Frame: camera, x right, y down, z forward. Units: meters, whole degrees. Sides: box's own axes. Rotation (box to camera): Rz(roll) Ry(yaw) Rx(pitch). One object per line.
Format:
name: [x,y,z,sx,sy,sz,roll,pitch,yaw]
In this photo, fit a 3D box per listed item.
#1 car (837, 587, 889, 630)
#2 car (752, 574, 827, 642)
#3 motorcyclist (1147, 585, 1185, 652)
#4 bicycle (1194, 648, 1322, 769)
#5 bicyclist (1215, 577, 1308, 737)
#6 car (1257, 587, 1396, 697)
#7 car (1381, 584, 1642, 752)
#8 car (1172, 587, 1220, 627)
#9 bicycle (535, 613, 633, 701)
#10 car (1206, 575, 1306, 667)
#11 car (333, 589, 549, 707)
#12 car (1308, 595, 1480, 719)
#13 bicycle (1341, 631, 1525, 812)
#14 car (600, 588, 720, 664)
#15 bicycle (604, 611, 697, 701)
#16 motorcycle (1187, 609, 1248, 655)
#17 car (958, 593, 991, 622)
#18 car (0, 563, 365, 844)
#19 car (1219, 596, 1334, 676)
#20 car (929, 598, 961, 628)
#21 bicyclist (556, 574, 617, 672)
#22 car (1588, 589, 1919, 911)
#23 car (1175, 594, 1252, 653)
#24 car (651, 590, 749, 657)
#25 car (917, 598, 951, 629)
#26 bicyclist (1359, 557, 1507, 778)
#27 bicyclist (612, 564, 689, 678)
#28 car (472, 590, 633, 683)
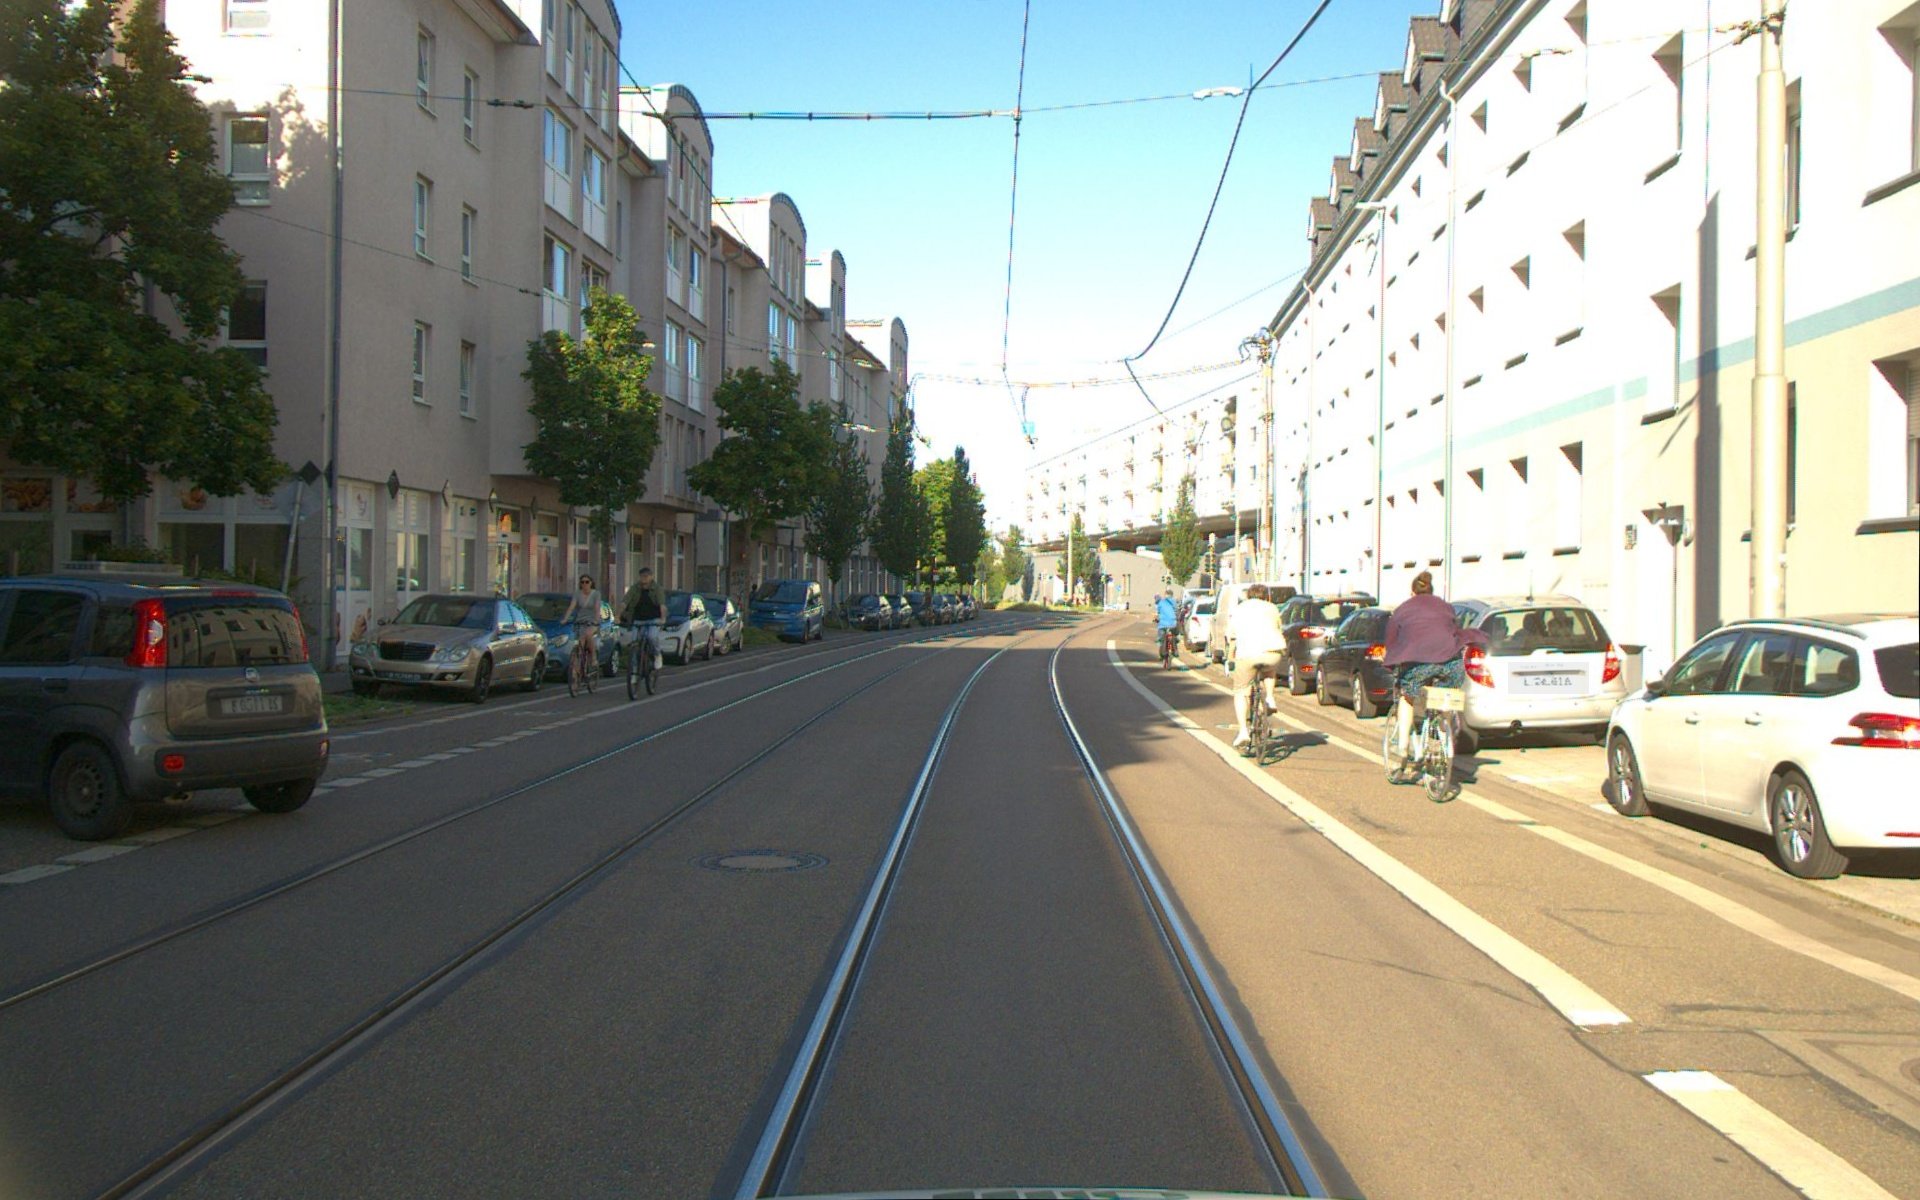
car: [-3.887,0.327,67.089,1.630,1.646,4.002,1,0,3]
car: [-5.321,0.219,51.974,1.630,2.021,4.345,1,0,3]
motorcyclist: [4.532,0.399,36.508,0.712,1.430,1.021,1,0,1]
bicycle: [2.865,1.007,16.197,0.723,0.941,2.837,4,0,1]
bicyclist: [2.899,0.527,15.970,0.712,1.487,1.021,1,0,1]
car: [6.271,0.664,28.676,1.626,1.699,3.905,-3,0,2]
car: [6.011,0.671,18.483,1.718,1.598,3.905,-3,0,3]
car: [11.107,0.317,78.125,1.805,1.786,4.550,1,0,2]
bicycle: [-5.576,0.826,24.665,0.822,1.169,2.233,-4,0,2]
car: [6.820,0.452,38.437,1.749,2.005,4.156,-1,0,3]
car: [-7.341,0.618,23.825,1.708,1.468,4.001,3,0,1]
car: [6.063,0.733,23.530,1.558,1.564,4.009,-2,0,3]
bicycle: [3.817,0.933,13.588,0.804,1.258,2.462,2,0,1]
car: [-6.798,0.551,37.872,1.791,1.621,4.002,1,0,4]
bicycle: [-4.496,0.786,24.189,0.822,1.169,2.233,-4,0,2]
motorcycle: [6.850,0.840,44.036,0.487,1.164,1.747,1,0,-37]
car: [0.865,0.412,96.341,1.805,1.674,3.699,1,0,2]
car: [-5.698,0.572,10.583,3.405,1.560,1.561,1,-1,23]
car: [6.342,0.686,33.509,1.758,1.509,3.780,1,0,2]
car: [-0.814,0.687,90.286,1.558,1.567,3.192,1,0,2]
bicyclist: [-5.573,0.332,24.698,0.610,1.404,0.868,-4,0,1]
car: [5.659,0.741,10.587,1.645,1.598,4.510,-1,0,1]
car: [7.585,0.673,49.937,1.805,1.674,4.550,1,0,2]
car: [-6.629,0.570,42.532,1.792,1.621,4.001,0,0,1]
car: [-1.347,0.669,86.186,1.558,1.567,3.192,1,0,2]
bicyclist: [3.797,0.523,13.353,0.915,1.705,0.970,1,0,1]
bicyclist: [-4.504,0.295,24.140,0.863,1.588,0.868,-3,0,1]
car: [-7.256,0.600,29.807,1.792,1.515,4.001,-1,0,1]
